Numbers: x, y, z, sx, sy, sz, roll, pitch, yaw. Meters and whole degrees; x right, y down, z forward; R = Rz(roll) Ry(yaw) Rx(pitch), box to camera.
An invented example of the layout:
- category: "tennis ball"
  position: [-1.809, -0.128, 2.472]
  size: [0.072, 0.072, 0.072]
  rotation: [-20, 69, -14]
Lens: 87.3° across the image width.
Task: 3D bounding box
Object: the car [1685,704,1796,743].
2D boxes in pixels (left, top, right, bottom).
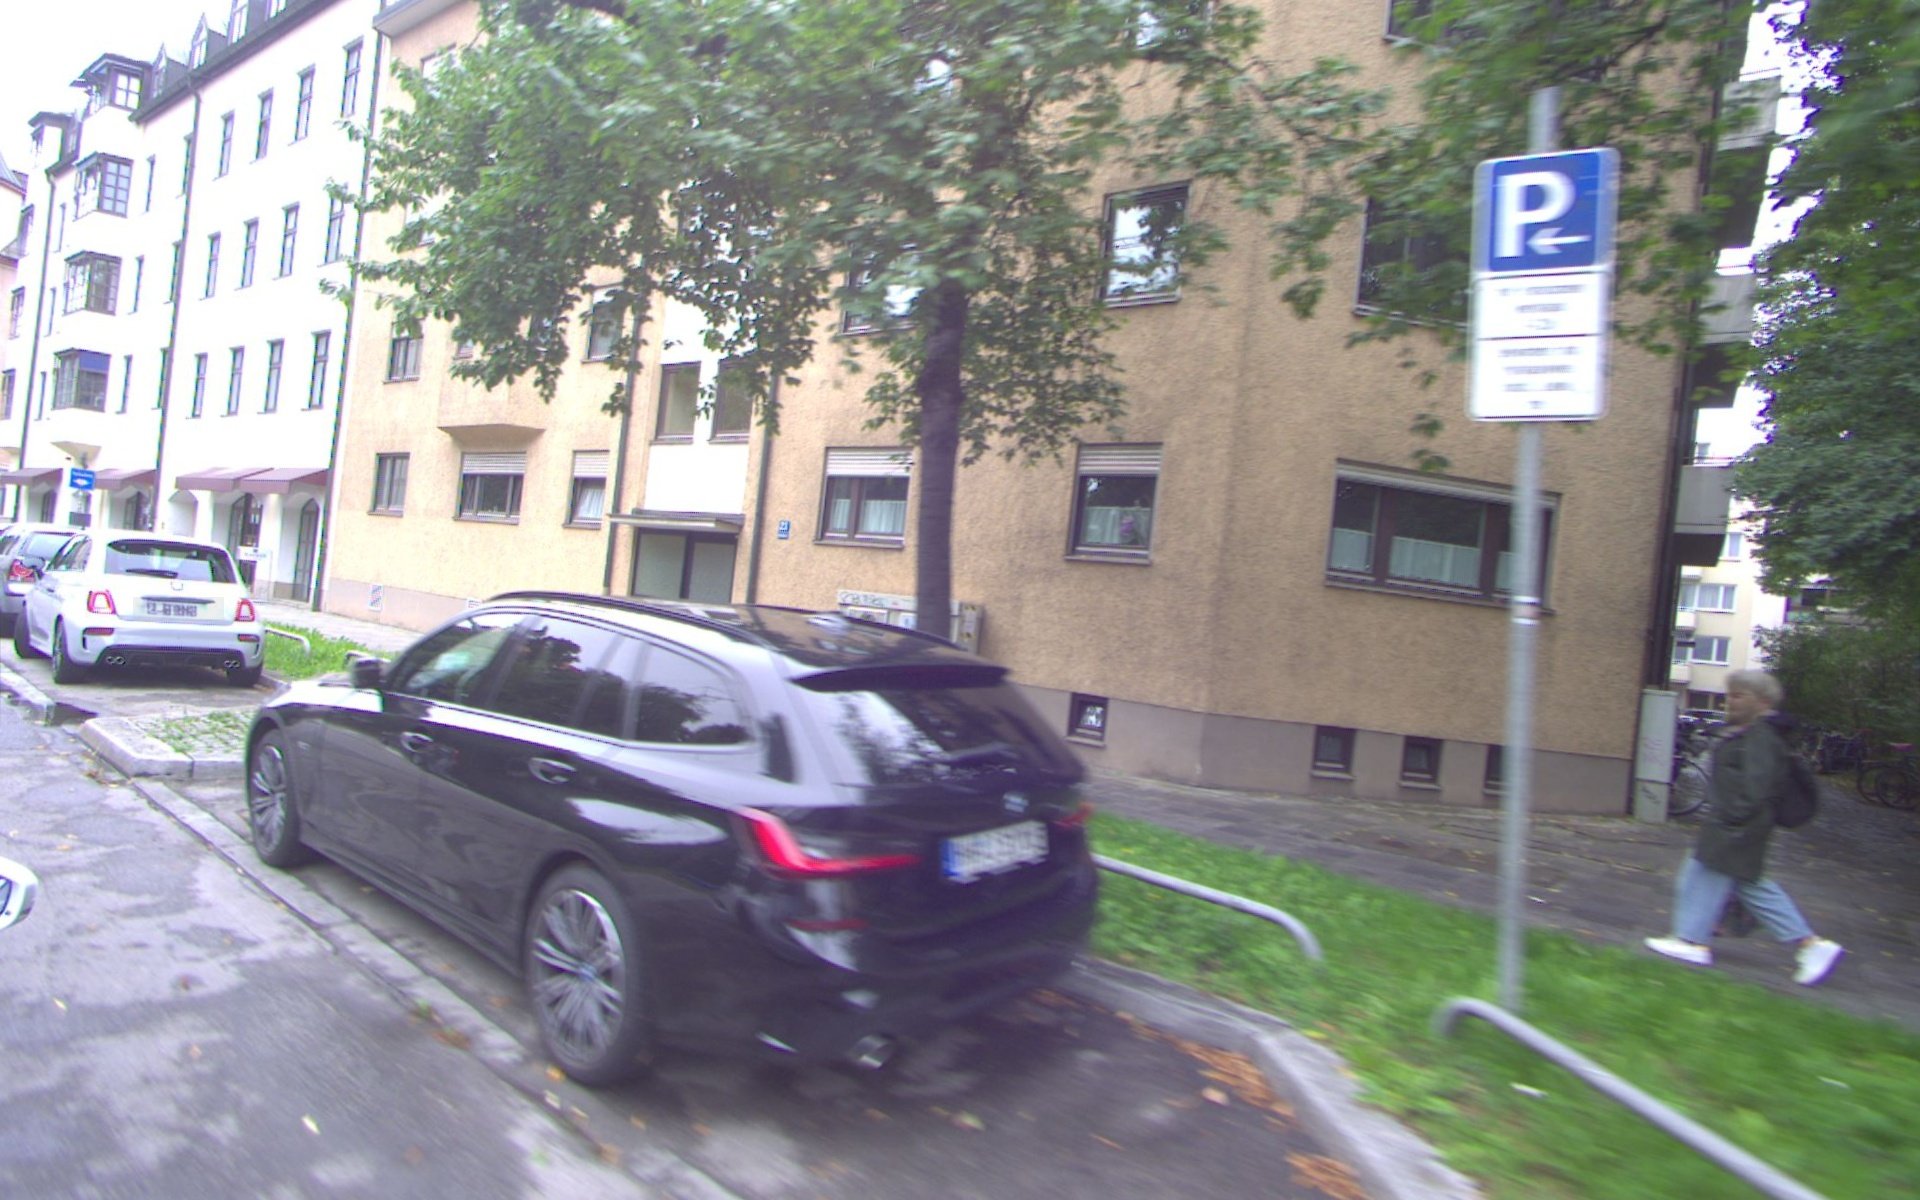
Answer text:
- category: "car"
  position: [36.947, 5.814, 47.663]
  size: [3.947, 1.274, 1.807]
  rotation: [5, -1, 43]

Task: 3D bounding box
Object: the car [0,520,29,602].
- category: "car"
  position: [-19.983, -0.927, 19.832]
  size: [4.423, 1.515, 1.754]
  rotation: [5, 0, 39]

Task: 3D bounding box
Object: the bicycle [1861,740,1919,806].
- category: "bicycle"
  position: [15.606, 2.838, 16.019]
  size: [1.729, 0.924, 0.533]
  rotation: [6, -1, 28]

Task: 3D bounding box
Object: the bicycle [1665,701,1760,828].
- category: "bicycle"
  position: [8.745, 1.850, 11.761]
  size: [0.693, 1.232, 2.425]
  rotation: [6, -1, 35]

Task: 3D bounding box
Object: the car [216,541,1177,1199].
- category: "car"
  position: [-1.474, 0.645, 4.400]
  size: [4.312, 1.516, 1.789]
  rotation: [5, 1, 39]

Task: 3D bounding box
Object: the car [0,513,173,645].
- category: "car"
  position: [-12.417, -0.342, 13.876]
  size: [3.732, 1.515, 1.626]
  rotation: [5, 0, 39]

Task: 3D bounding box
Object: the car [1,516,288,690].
- category: "car"
  position: [-8.928, -0.015, 10.910]
  size: [3.766, 1.515, 1.626]
  rotation: [5, 0, 39]

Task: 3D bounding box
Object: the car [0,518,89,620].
- category: "car"
  position: [-16.297, -0.633, 16.941]
  size: [4.370, 1.515, 1.688]
  rotation: [5, 0, 39]

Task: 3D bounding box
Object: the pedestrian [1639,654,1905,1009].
- category: "pedestrian"
  position: [4.359, 1.170, 5.447]
  size: [0.966, 1.643, 0.670]
  rotation: [4, -2, 40]
